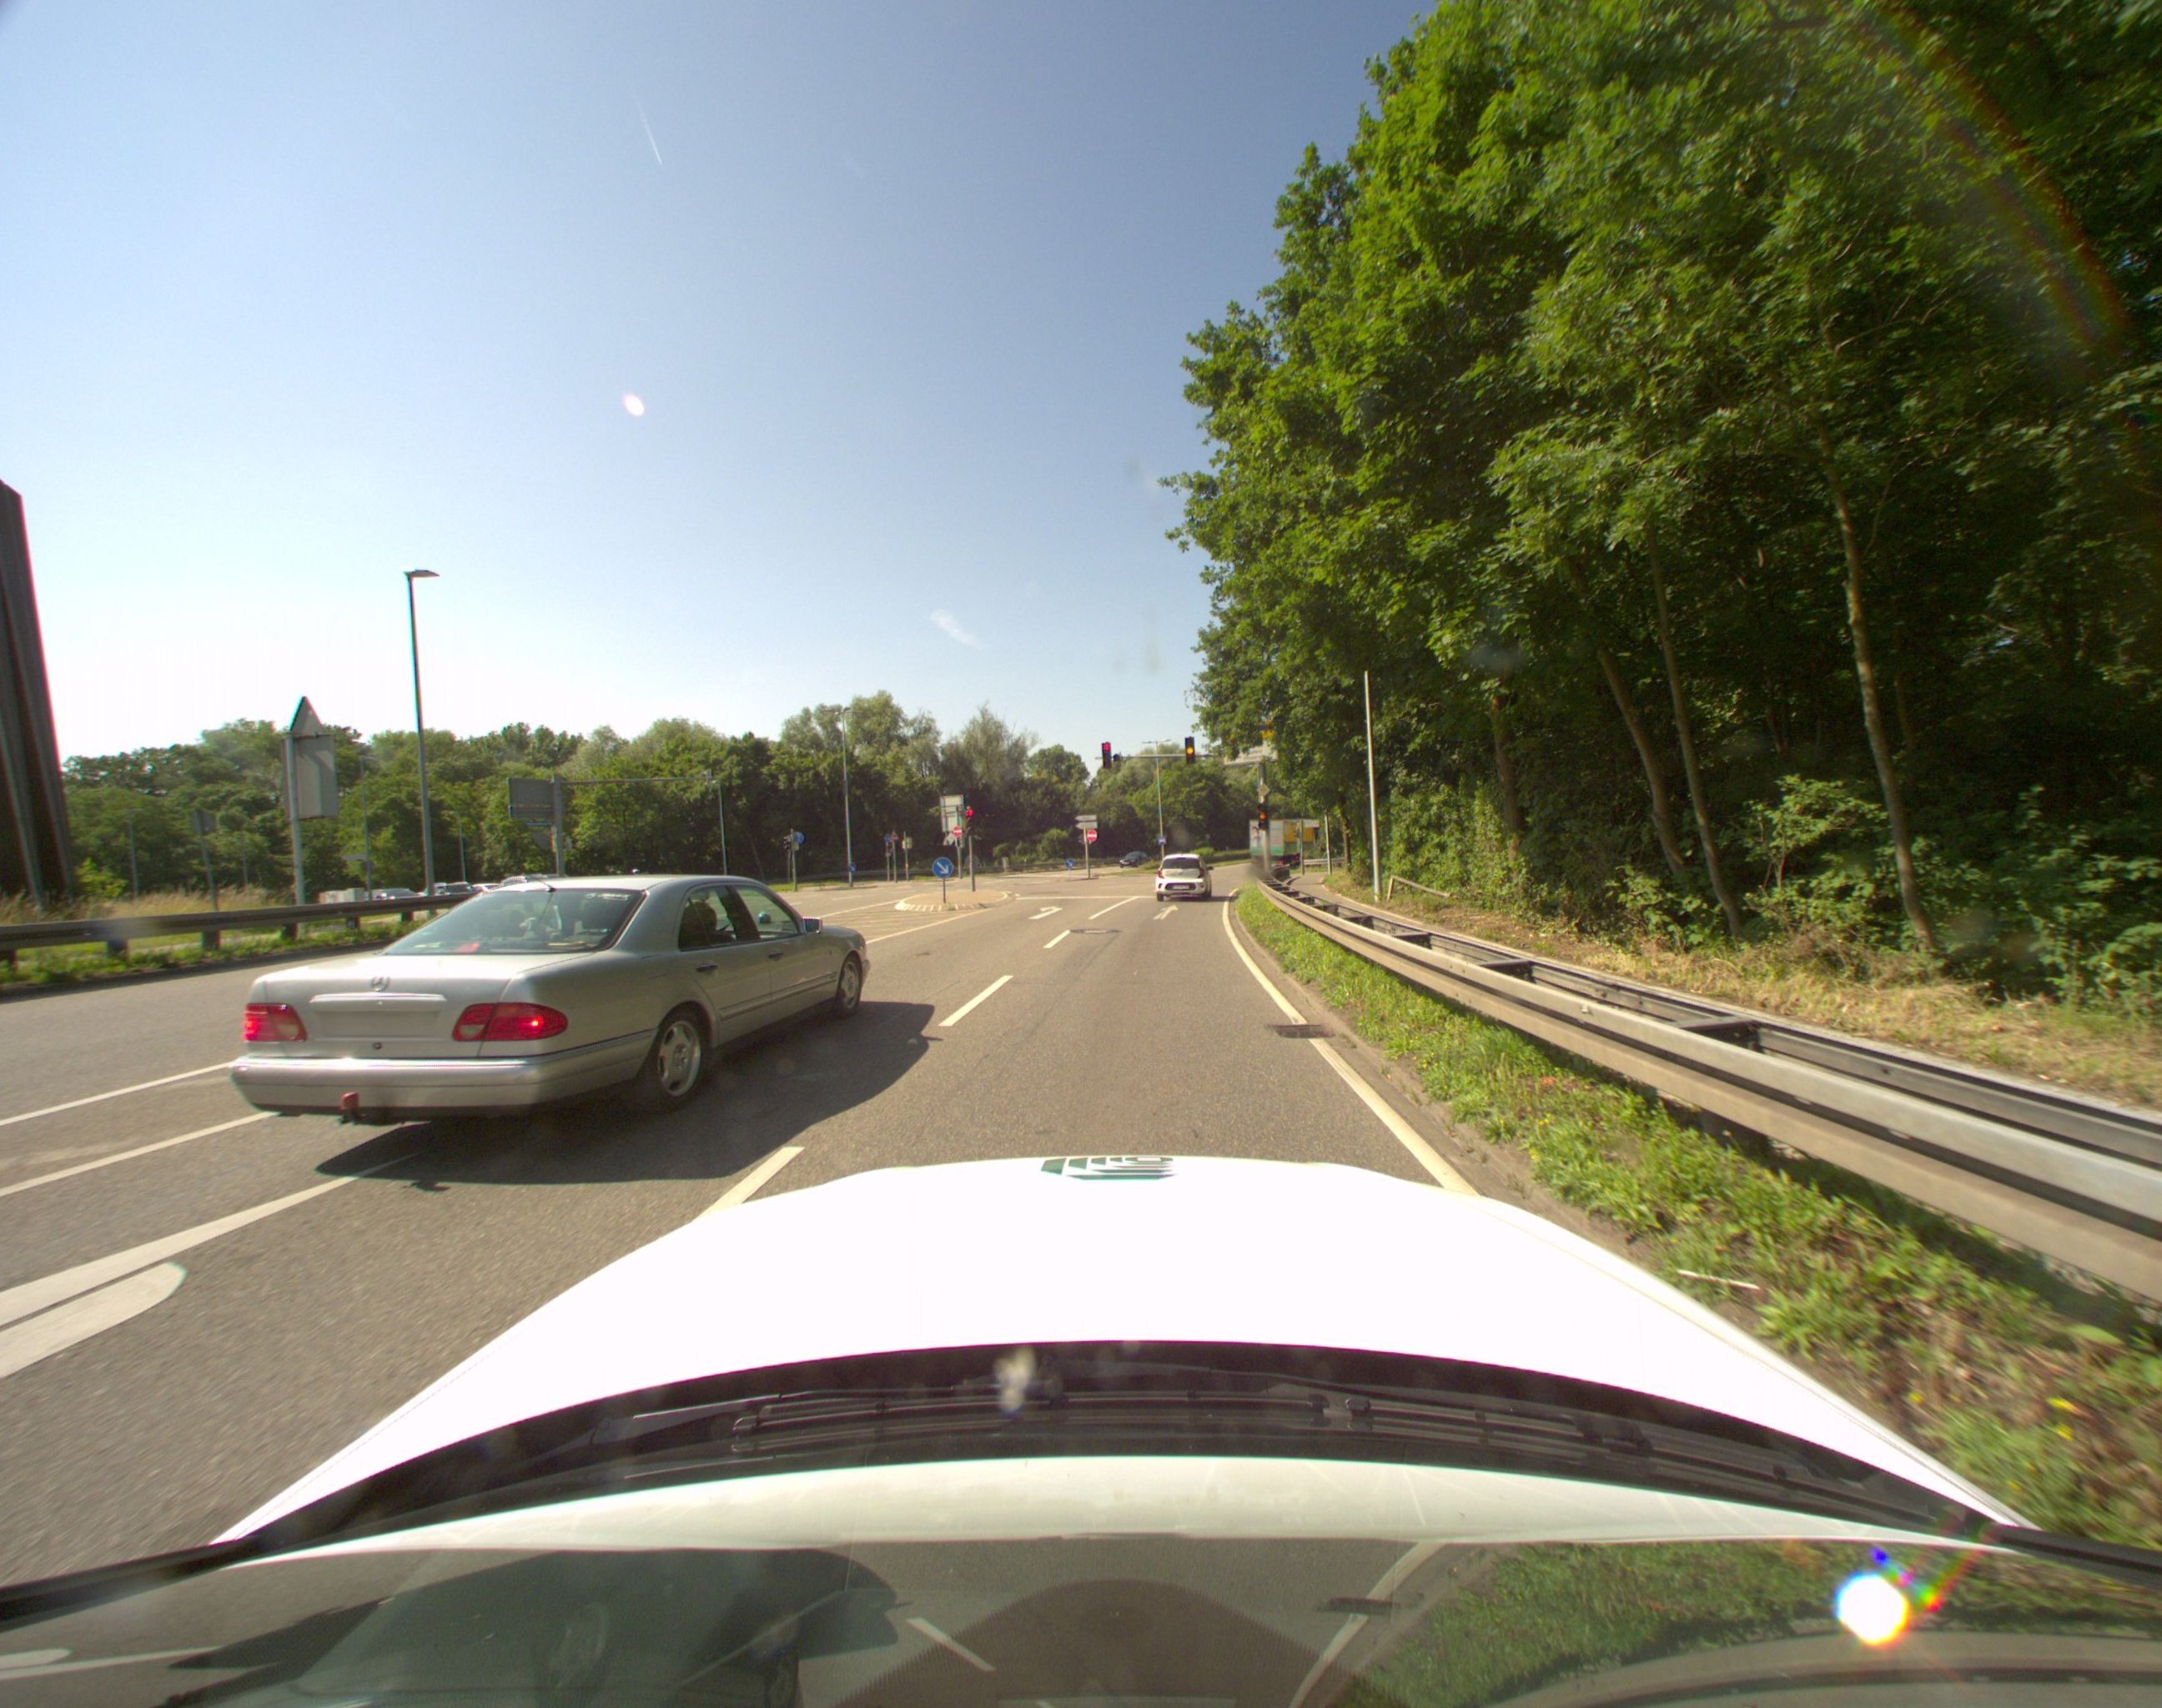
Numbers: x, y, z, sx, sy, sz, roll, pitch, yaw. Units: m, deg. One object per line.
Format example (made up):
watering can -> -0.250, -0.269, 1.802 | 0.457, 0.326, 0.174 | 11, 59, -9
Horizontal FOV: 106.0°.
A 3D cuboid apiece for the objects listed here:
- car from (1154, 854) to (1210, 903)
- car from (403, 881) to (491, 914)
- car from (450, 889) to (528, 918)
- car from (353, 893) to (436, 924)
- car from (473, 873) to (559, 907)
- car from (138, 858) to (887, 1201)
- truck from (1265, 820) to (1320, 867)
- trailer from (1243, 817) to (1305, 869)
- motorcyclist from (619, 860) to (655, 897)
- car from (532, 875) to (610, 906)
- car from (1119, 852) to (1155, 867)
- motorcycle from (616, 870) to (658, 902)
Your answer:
car -> 3.339, 0.773, 27.169 | 1.693, 1.494, 4.007 | -1, 0, 6
car -> -33.484, 2.308, 43.011 | 4.342, 1.389, 1.932 | -6, -3, 26
car -> -35.338, 2.944, 48.596 | 3.950, 1.389, 2.136 | -5, -3, 26
car -> -38.482, 3.047, 45.649 | 4.342, 1.389, 1.932 | -5, -3, 26
car -> -27.687, 1.762, 39.875 | 3.950, 1.389, 1.712 | -5, -3, 26
car -> -3.211, 0.820, 6.171 | 1.930, 1.486, 4.906 | -1, 0, 5
truck -> 18.370, -0.883, 70.373 | 3.231, 3.758, 8.418 | 0, 0, 24
trailer -> 15.058, -0.854, 63.002 | 3.195, 3.758, 7.868 | 0, 0, 24
motorcyclist -> -23.758, 1.290, 43.569 | 1.446, 1.870, 0.897 | -5, -2, 24
car -> -27.885, 2.014, 44.499 | 3.950, 1.389, 1.778 | -5, -3, 26
car -> 5.367, 0.511, 78.172 | 1.975, 1.316, 4.024 | -2, -1, 27
motorcycle -> -23.754, 1.702, 43.555 | 1.959, 1.529, 0.904 | -5, -2, 24
